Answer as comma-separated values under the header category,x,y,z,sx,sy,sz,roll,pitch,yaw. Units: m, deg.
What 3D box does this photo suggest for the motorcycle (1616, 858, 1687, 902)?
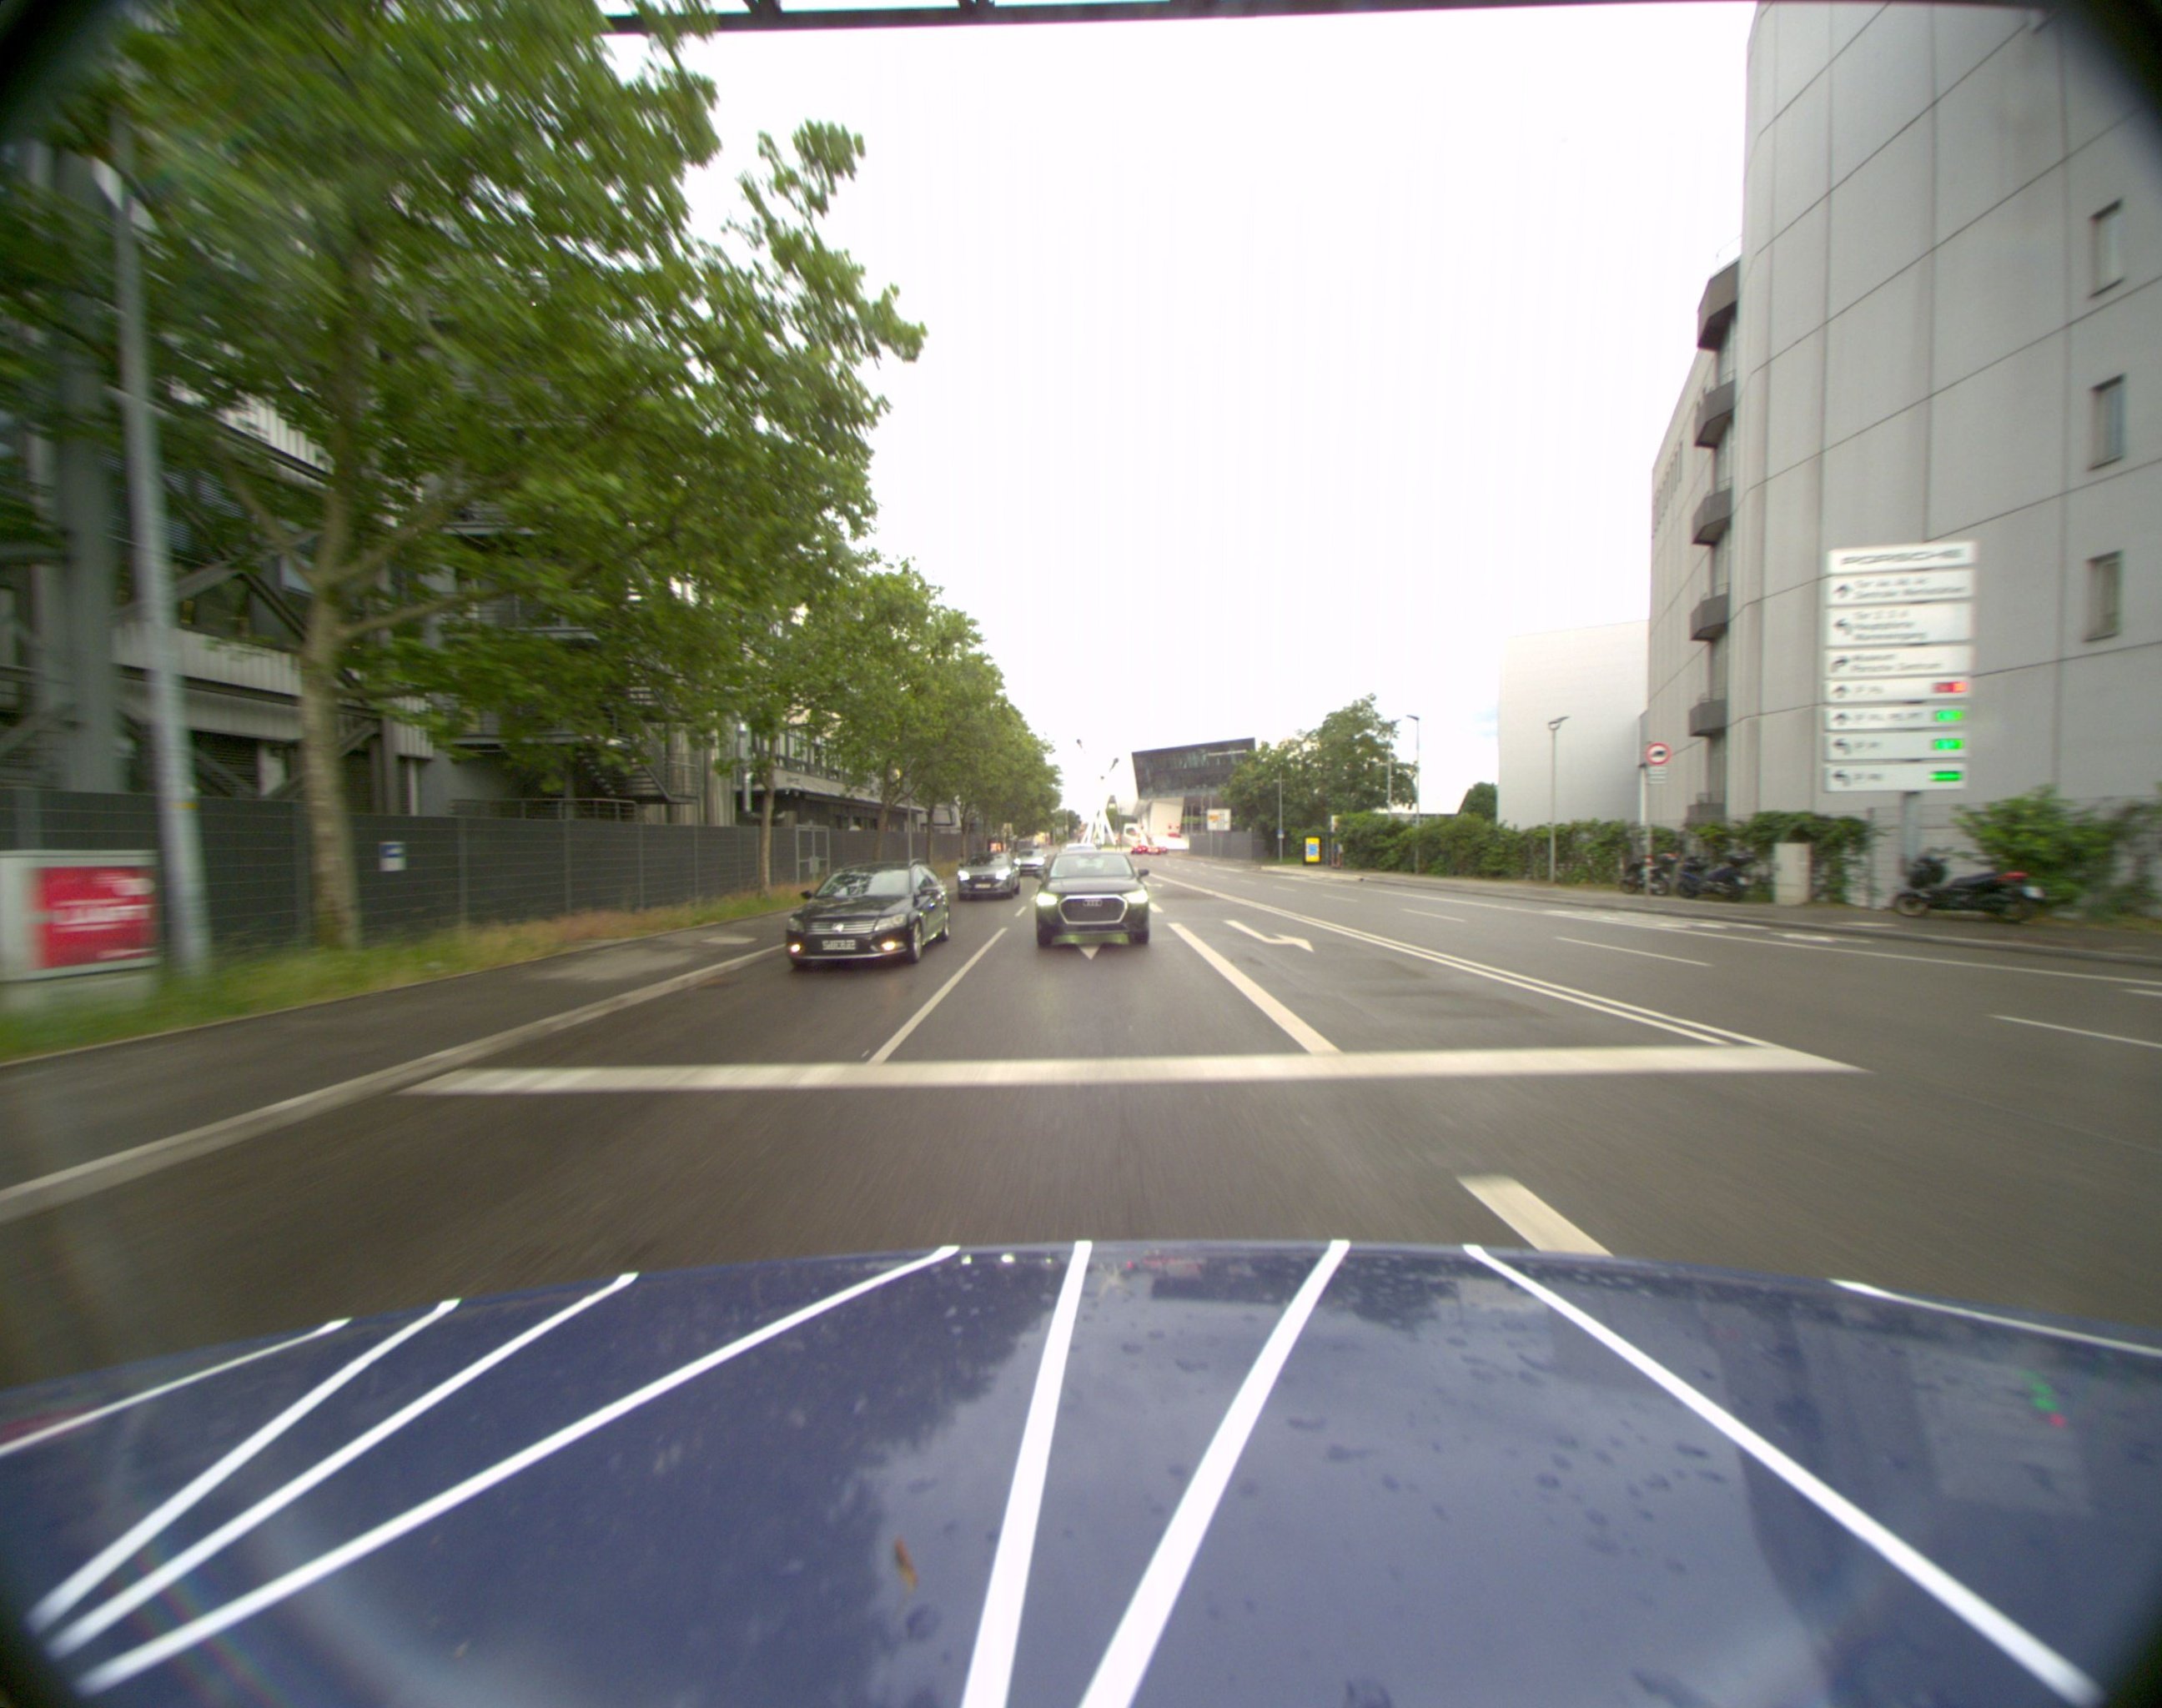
category,x,y,z,sx,sy,sz,roll,pitch,yaw
motorcycle,16.858,0.752,22.500,0.626,1.208,1.968,0,1,1

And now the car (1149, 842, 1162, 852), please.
category,x,y,z,sx,sy,sz,roll,pitch,yaw
car,12.927,-1.212,132.133,2.036,1.580,4.485,0,1,2

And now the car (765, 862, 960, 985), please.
category,x,y,z,sx,sy,sz,roll,pitch,yaw
car,-3.156,0.917,12.007,1.749,1.422,4.516,-1,1,0

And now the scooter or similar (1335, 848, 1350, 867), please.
category,x,y,z,sx,sy,sz,roll,pitch,yaw
scooter or similar,16.382,0.210,47.610,0.394,1.123,1.569,0,1,1

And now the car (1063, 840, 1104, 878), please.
category,x,y,z,sx,sy,sz,roll,pitch,yaw
car,0.131,0.248,40.923,2.035,1.920,4.331,-1,1,0

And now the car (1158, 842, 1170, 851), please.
category,x,y,z,sx,sy,sz,roll,pitch,yaw
car,15.240,-1.409,139.096,1.776,1.580,4.485,0,1,2

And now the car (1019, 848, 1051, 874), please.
category,x,y,z,sx,sy,sz,roll,pitch,yaw
car,-2.954,0.424,49.396,1.820,1.571,4.331,-1,1,0

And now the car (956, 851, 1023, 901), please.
category,x,y,z,sx,sy,sz,roll,pitch,yaw
car,-3.109,0.700,26.707,1.825,1.581,4.331,-1,1,0

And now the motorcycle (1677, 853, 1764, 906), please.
category,x,y,z,sx,sy,sz,roll,pitch,yaw
motorcycle,16.681,0.632,19.903,0.626,1.260,2.171,-2,1,6

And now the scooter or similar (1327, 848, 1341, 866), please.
category,x,y,z,sx,sy,sz,roll,pitch,yaw
scooter or similar,16.425,0.188,49.297,0.394,1.123,1.569,0,1,1

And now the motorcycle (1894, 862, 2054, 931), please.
category,x,y,z,sx,sy,sz,roll,pitch,yaw
motorcycle,16.804,0.761,14.394,0.569,1.156,2.038,0,1,-1

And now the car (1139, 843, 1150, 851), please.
category,x,y,z,sx,sy,sz,roll,pitch,yaw
car,11.705,-1.280,140.342,1.776,1.580,4.485,0,1,2

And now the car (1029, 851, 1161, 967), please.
category,x,y,z,sx,sy,sz,roll,pitch,yaw
car,0.185,0.758,13.400,1.820,1.536,5.607,-1,1,0

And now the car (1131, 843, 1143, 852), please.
category,x,y,z,sx,sy,sz,roll,pitch,yaw
car,9.865,-1.141,134.062,1.776,1.580,4.485,0,1,2
